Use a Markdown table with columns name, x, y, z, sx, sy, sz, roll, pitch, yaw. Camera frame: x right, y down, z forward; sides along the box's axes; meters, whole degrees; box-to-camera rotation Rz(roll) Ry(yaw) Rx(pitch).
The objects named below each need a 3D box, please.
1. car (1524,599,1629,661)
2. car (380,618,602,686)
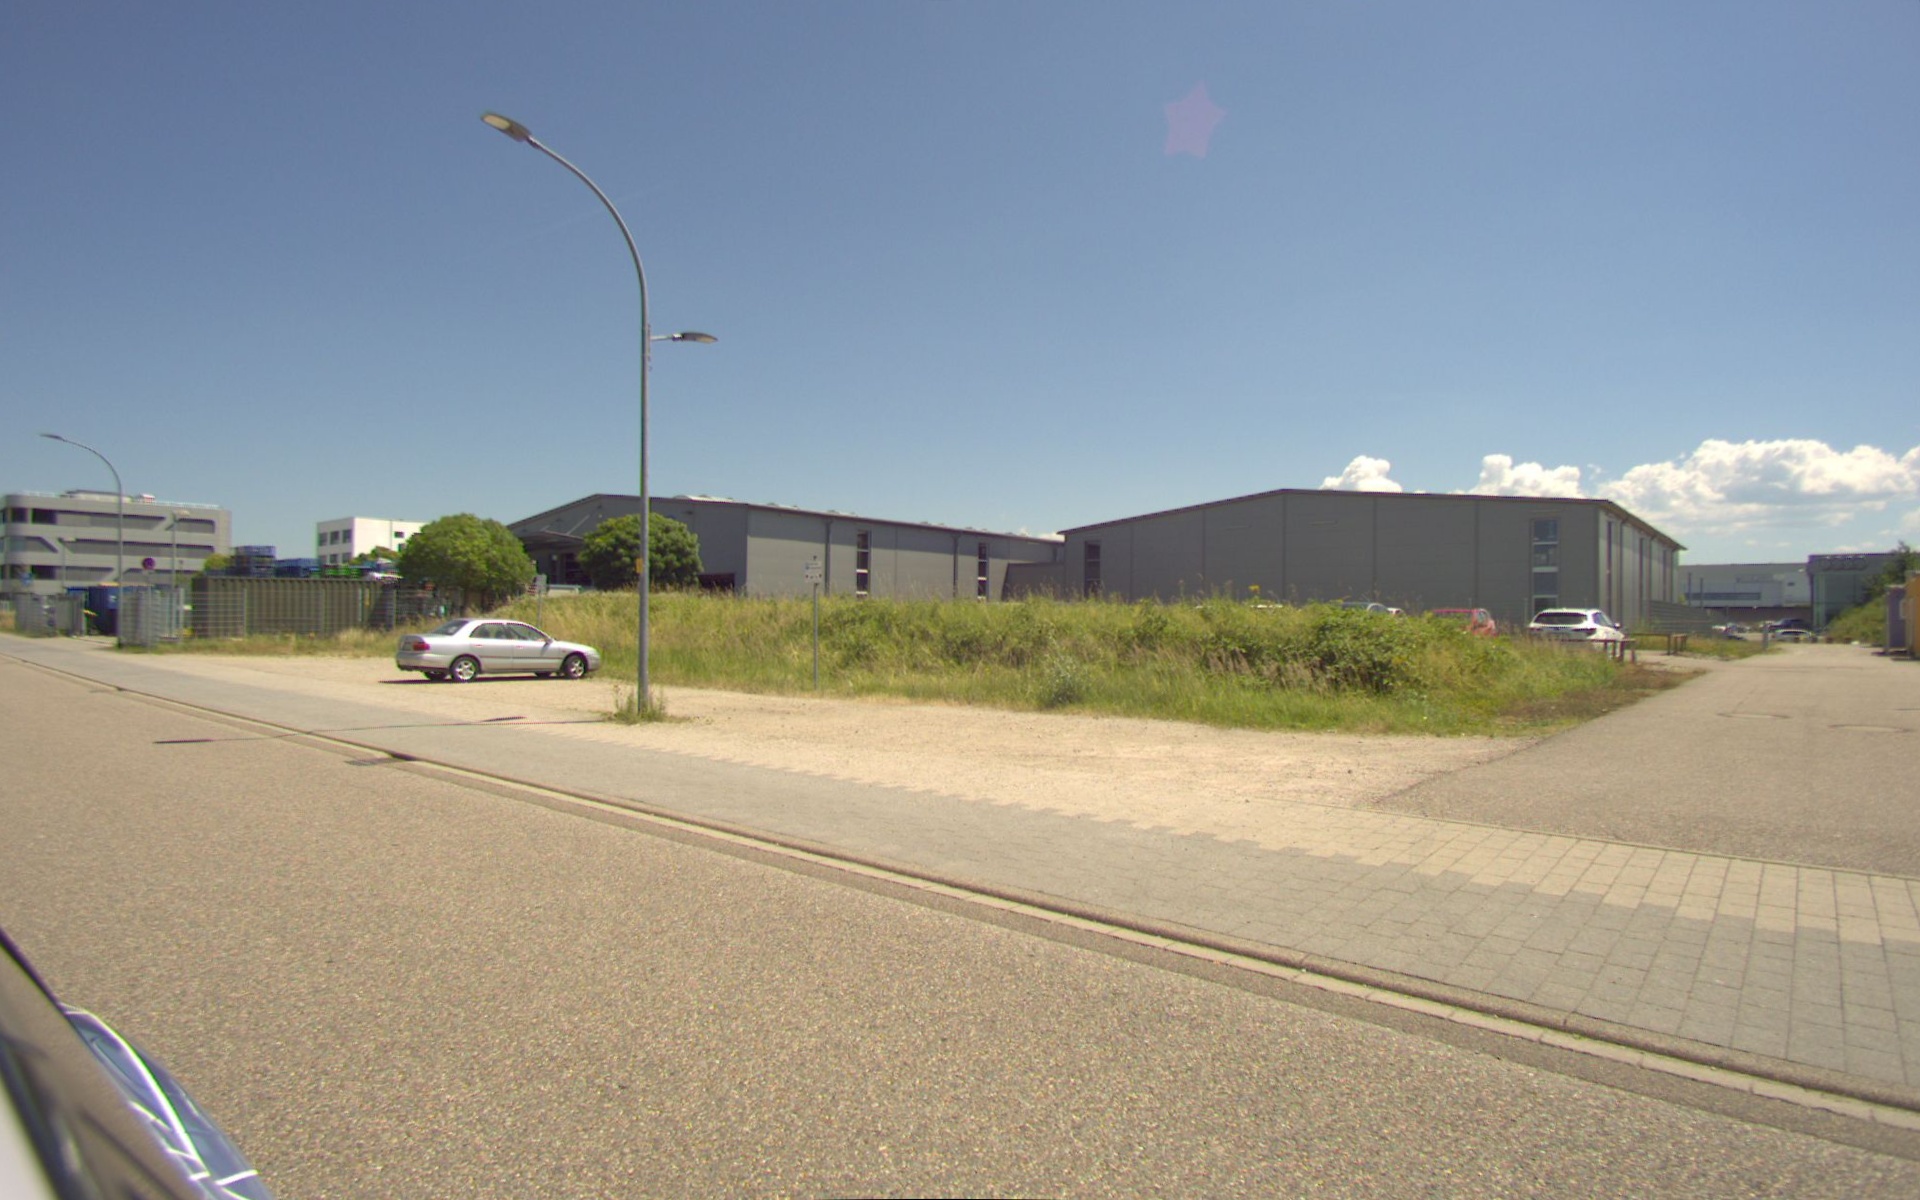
| name | x | y | z | sx | sy | sz | roll | pitch | yaw |
| --- | --- | --- | --- | --- | --- | --- | --- | --- | --- |
| car | 15.987 | 0.711 | 26.187 | 1.737 | 1.408 | 3.840 | 0 | 1 | 40 |
| car | -10.604 | 1.137 | 23.095 | 1.862 | 1.390 | 4.201 | -1 | -2 | 42 |
